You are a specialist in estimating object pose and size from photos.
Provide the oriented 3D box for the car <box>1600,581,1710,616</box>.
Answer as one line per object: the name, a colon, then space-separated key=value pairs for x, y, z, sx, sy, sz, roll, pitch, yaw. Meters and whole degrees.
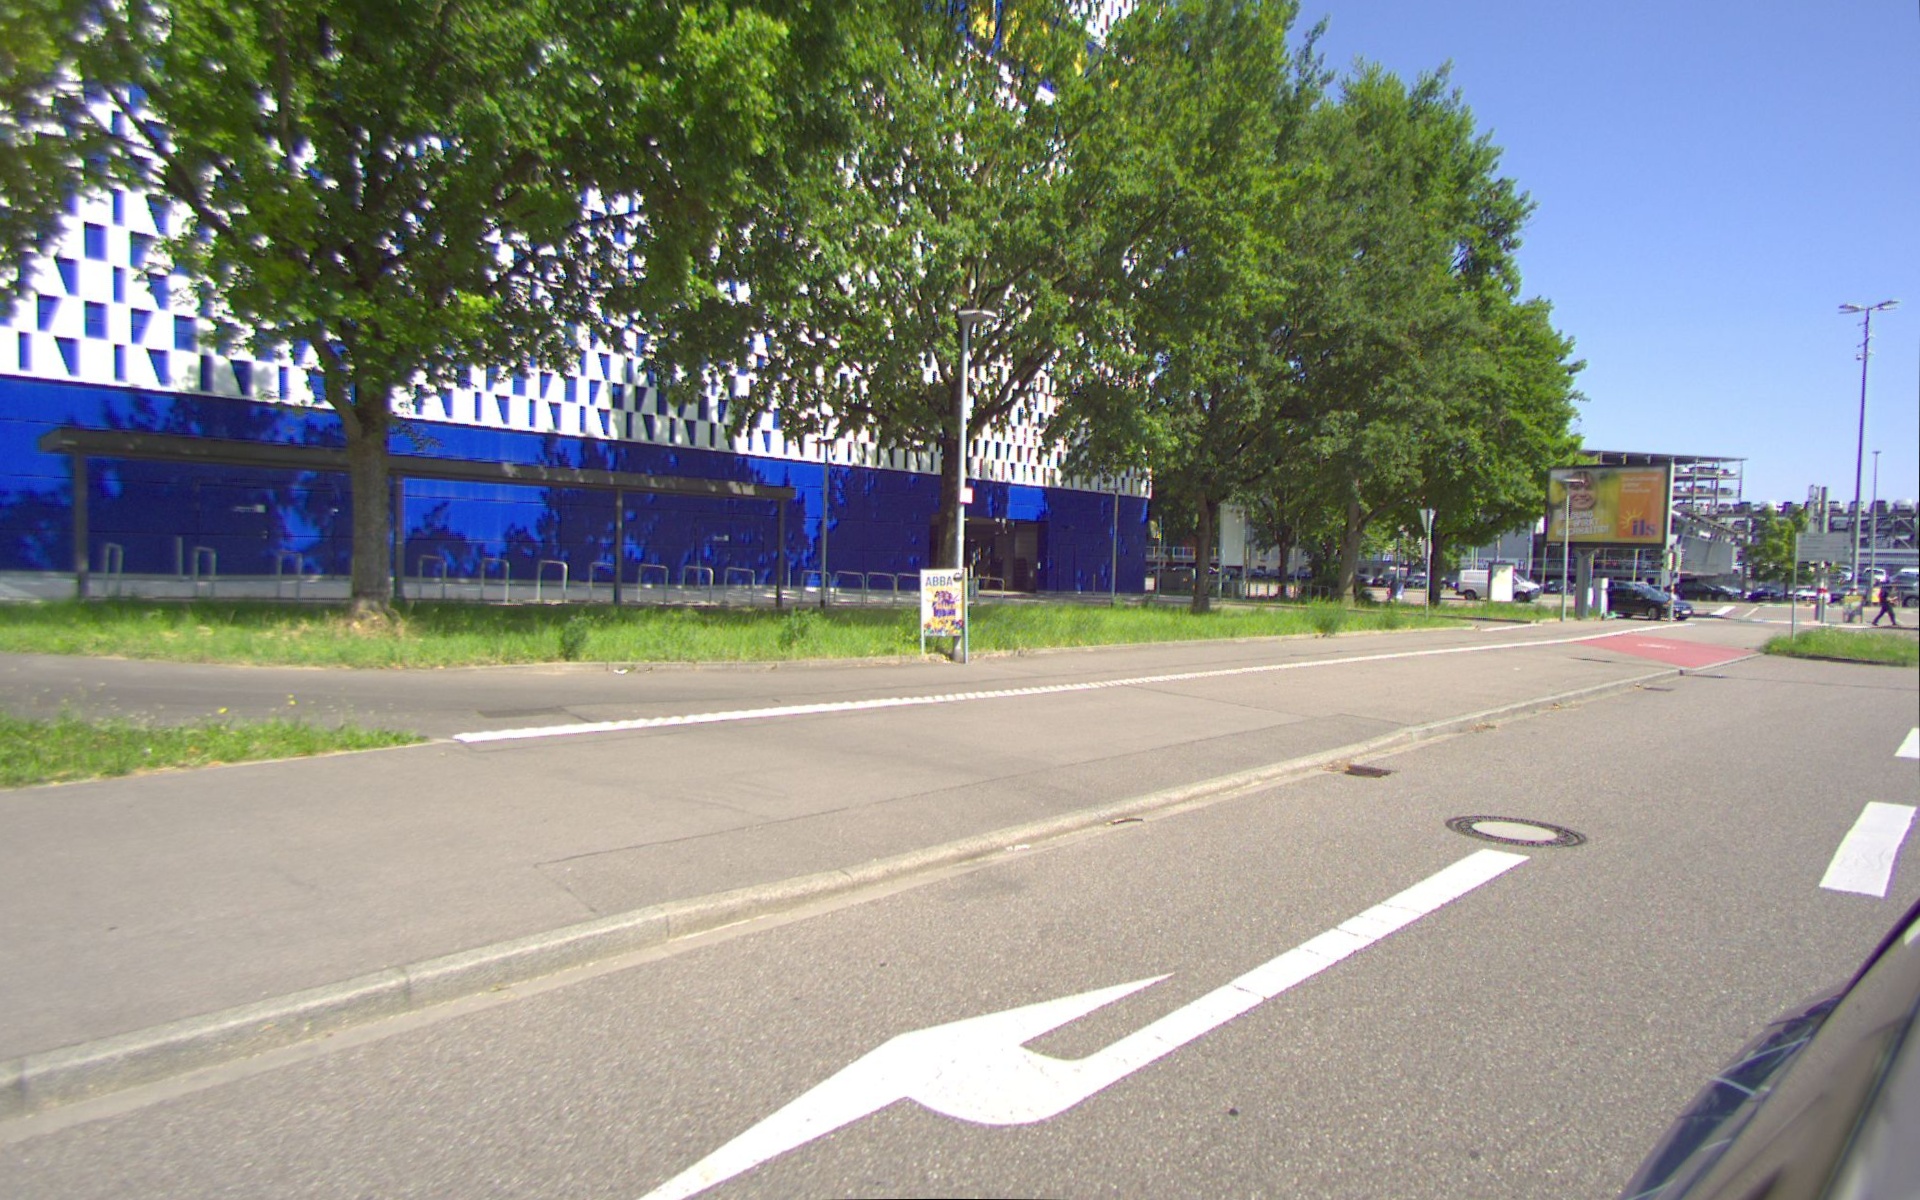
car: x=33.252 y=-0.122 z=48.545 sx=1.735 sy=1.482 sz=4.249 roll=-1 pitch=3 yaw=-14

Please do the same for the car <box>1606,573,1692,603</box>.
car: x=40.374 y=-0.740 z=59.323 sx=1.729 sy=1.632 sz=3.827 roll=-2 pitch=4 yaw=-40

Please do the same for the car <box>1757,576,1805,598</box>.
car: x=58.620 y=-0.916 z=72.217 sx=3.930 sy=1.478 sz=1.997 roll=-1 pitch=3 yaw=-41

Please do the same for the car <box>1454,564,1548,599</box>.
car: x=34.454 y=-1.192 z=64.530 sx=4.984 sy=2.031 sz=1.715 roll=3 pitch=4 yaw=43

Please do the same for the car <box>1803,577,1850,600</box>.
car: x=60.475 y=-0.837 z=70.617 sx=3.931 sy=1.478 sz=1.886 roll=-2 pitch=4 yaw=-41

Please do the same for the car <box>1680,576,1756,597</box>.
car: x=56.412 y=-1.029 z=75.348 sx=4.337 sy=1.366 sz=1.794 roll=3 pitch=3 yaw=43

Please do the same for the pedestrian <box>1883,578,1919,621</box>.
pedestrian: x=39.864 y=-0.020 z=42.881 sx=0.939 sy=1.801 sz=0.708 roll=1 pitch=2 yaw=-21

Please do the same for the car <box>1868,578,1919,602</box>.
car: x=66.746 y=-0.684 z=70.929 sx=1.948 sy=1.606 sz=4.471 roll=-1 pitch=3 yaw=-44

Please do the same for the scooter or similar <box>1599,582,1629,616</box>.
scooter or similar: x=23.647 y=-0.038 z=36.602 sx=1.160 sy=1.181 sz=0.403 roll=-1 pitch=3 yaw=-29
